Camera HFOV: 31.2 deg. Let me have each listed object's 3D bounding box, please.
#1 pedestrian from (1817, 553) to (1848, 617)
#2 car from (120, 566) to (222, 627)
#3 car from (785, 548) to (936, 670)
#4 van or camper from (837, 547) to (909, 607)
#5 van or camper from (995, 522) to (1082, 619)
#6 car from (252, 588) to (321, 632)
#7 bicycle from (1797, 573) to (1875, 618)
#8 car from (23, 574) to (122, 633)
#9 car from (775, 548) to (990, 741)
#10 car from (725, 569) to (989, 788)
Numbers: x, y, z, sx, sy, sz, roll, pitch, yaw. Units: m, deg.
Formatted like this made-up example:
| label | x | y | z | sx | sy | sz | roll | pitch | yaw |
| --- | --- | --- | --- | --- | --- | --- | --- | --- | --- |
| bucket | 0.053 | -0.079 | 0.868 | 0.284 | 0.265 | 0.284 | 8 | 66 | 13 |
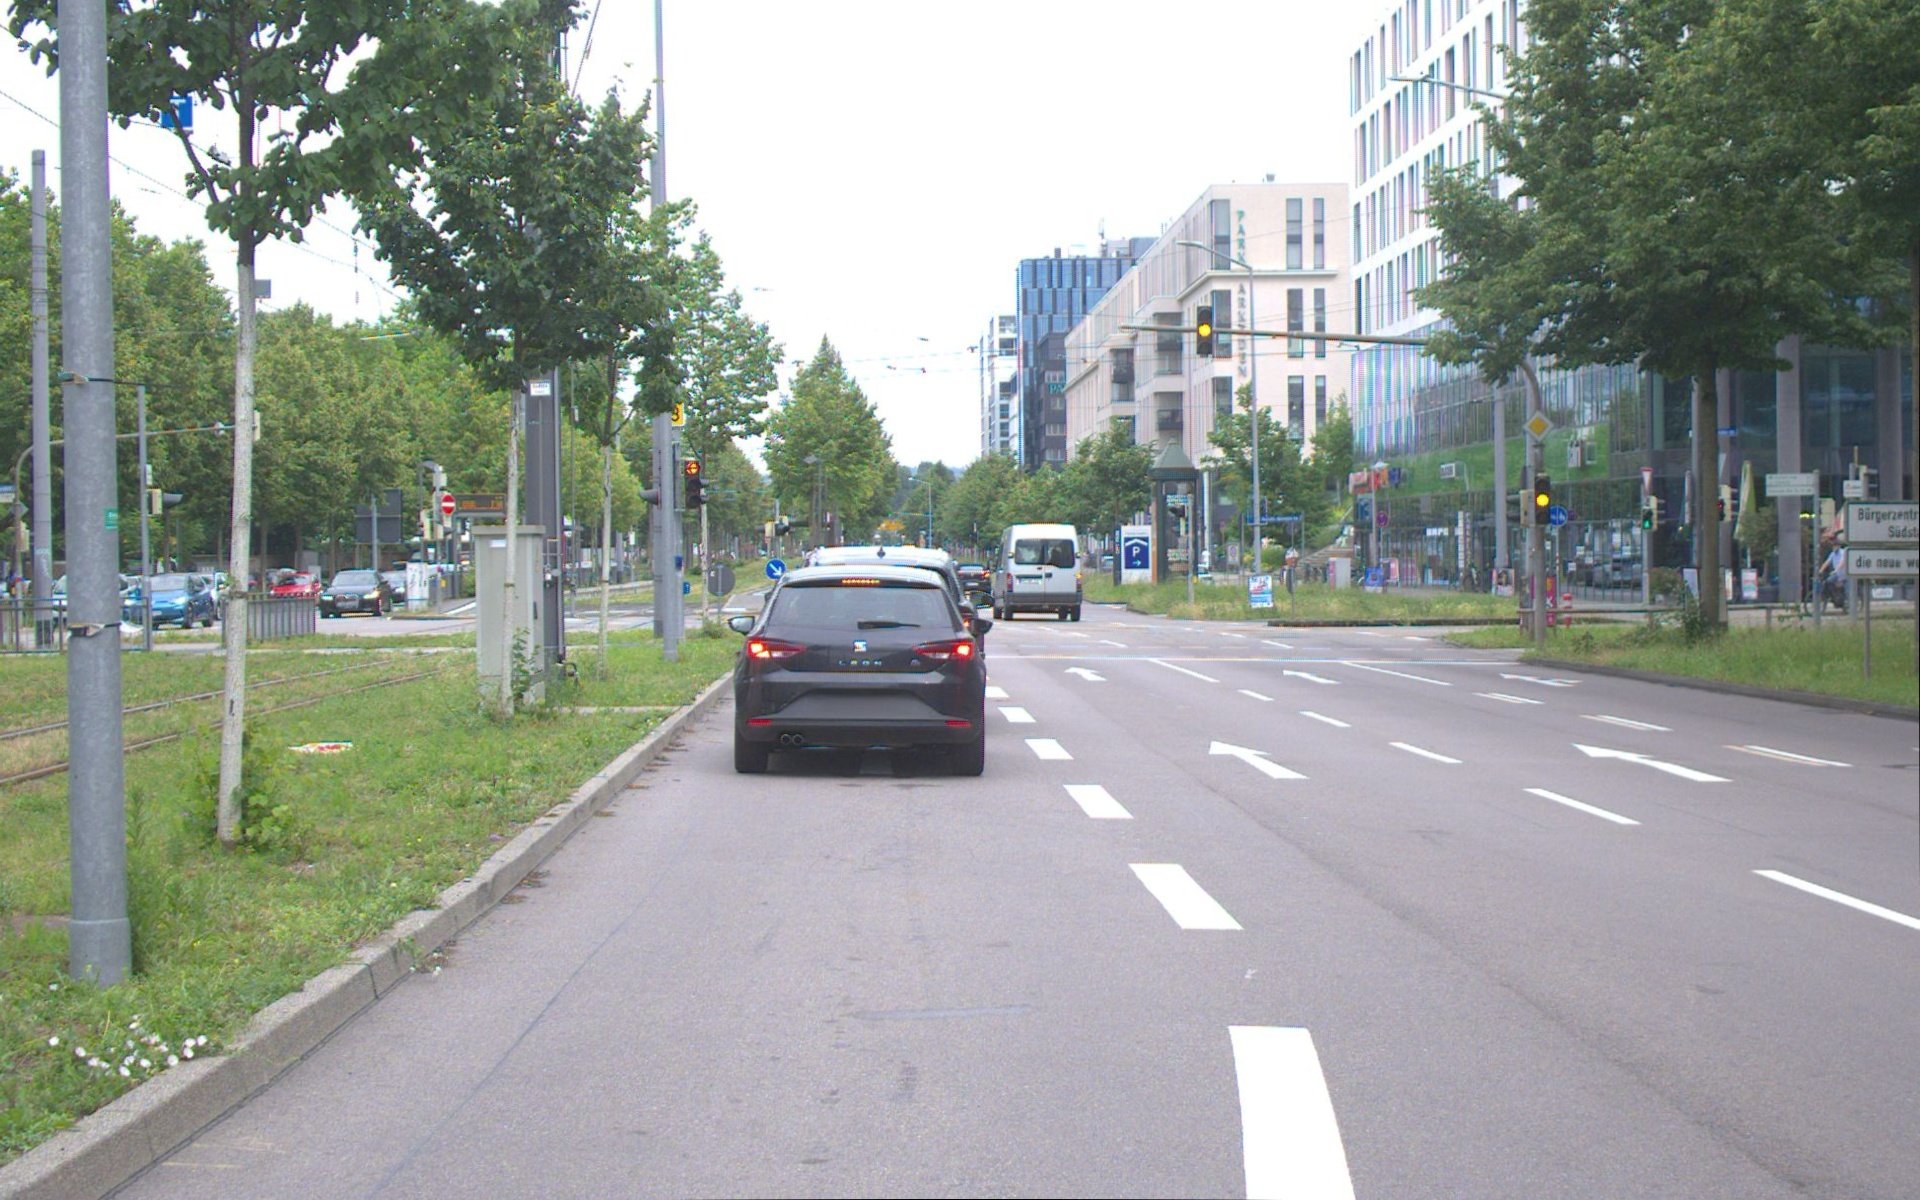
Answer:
| label | x | y | z | sx | sy | sz | roll | pitch | yaw |
| --- | --- | --- | --- | --- | --- | --- | --- | --- | --- |
| pedestrian | 21.822 | -0.373 | 85.965 | 0.614 | 1.599 | 0.618 | -1 | 1 | 1 |
| car | -21.628 | -0.114 | 94.349 | 1.964 | 1.583 | 4.689 | 0 | 1 | -3 |
| car | -1.412 | 0.101 | 50.223 | 1.993 | 1.676 | 4.000 | 1 | 1 | 1 |
| van or camper | -2.497 | -0.676 | 99.431 | 1.993 | 1.610 | 4.789 | 0 | 2 | -1 |
| van or camper | 2.001 | -0.798 | 89.288 | 2.109 | 2.348 | 4.924 | 0 | 3 | -1 |
| car | -25.727 | 0.370 | 131.462 | 1.796 | 1.565 | 4.328 | -1 | 1 | 0 |
| bicycle | 21.900 | -0.115 | 85.975 | 1.792 | 1.082 | 0.618 | -1 | 1 | 1 |
| car | -25.127 | 0.104 | 97.438 | 1.796 | 1.565 | 4.579 | 2 | 0 | -3 |
| car | -0.695 | 0.348 | 31.102 | 1.802 | 1.619 | 4.000 | -1 | 1 | -1 |
| car | -0.753 | 0.506 | 24.917 | 1.743 | 1.412 | 4.000 | 1 | 1 | -2 |
